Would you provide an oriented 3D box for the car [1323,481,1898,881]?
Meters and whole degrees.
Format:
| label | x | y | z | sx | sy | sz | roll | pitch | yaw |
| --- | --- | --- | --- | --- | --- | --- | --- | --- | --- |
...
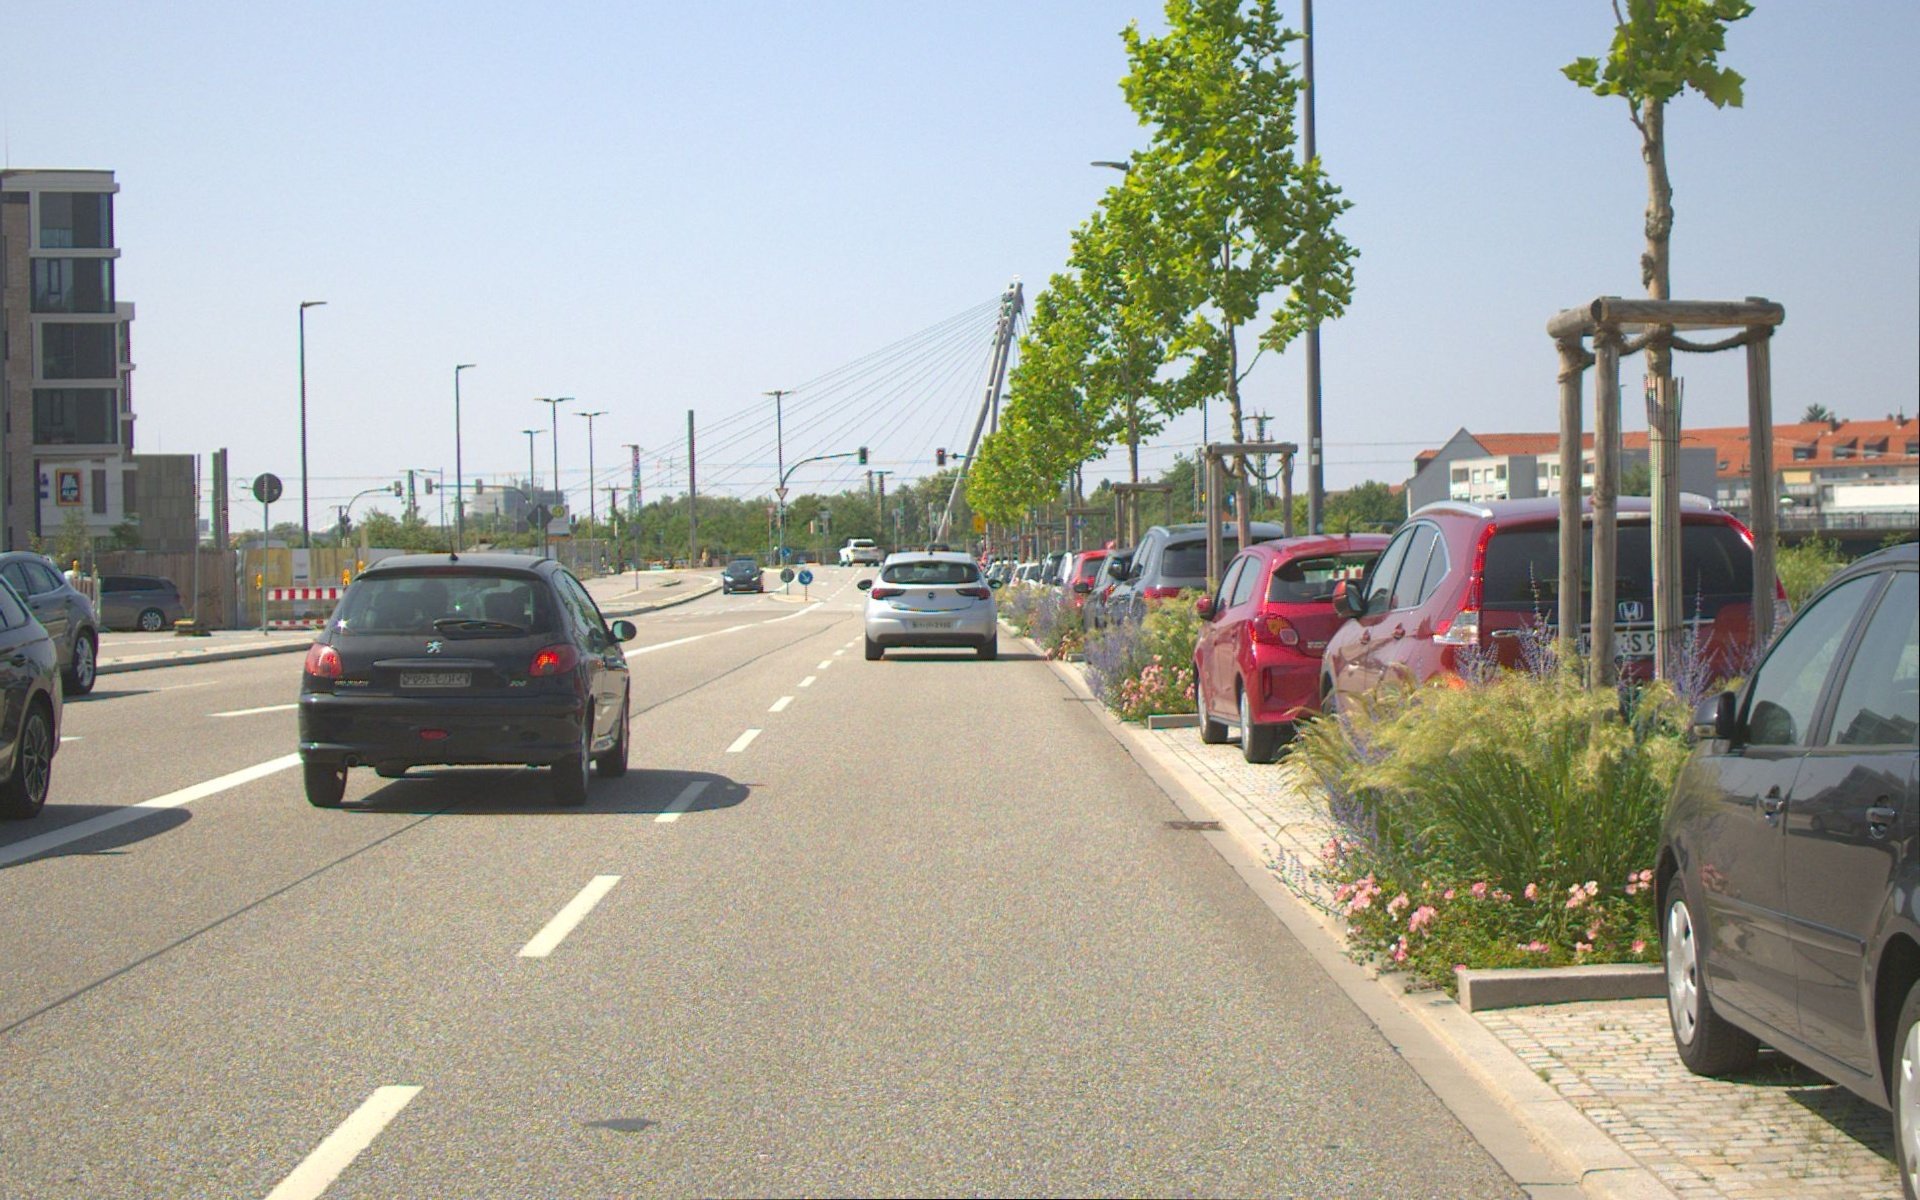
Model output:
| label | x | y | z | sx | sy | sz | roll | pitch | yaw |
| --- | --- | --- | --- | --- | --- | --- | --- | --- | --- |
| car | 2.910 | 0.278 | 16.386 | 1.908 | 1.611 | 4.548 | -1 | 1 | 1 |

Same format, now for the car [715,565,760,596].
| label | x | y | z | sx | sy | sz | roll | pitch | yaw |
| --- | --- | --- | --- | --- | --- | --- | --- | --- | --- |
| car | -9.945 | -0.880 | 154.012 | 1.704 | 1.347 | 4.456 | -1 | 0 | 0 |

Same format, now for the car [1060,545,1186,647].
| label | x | y | z | sx | sy | sz | roll | pitch | yaw |
| --- | --- | --- | --- | --- | --- | --- | --- | --- | --- |
| car | 2.484 | -0.086 | 53.170 | 1.717 | 1.446 | 4.000 | 1 | 2 | -1 |

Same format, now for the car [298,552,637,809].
| label | x | y | z | sx | sy | sz | roll | pitch | yaw |
| --- | --- | --- | --- | --- | --- | --- | --- | --- | --- |
| car | -2.896 | 0.421 | 20.875 | 1.619 | 1.411 | 3.727 | 0 | 1 | -2 |

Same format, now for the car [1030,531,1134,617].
| label | x | y | z | sx | sy | sz | roll | pitch | yaw |
| --- | --- | --- | --- | --- | --- | --- | --- | --- | --- |
| car | 2.360 | -0.498 | 66.039 | 1.908 | 1.572 | 4.157 | -1 | 1 | 3 |

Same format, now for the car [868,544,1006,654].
| label | x | y | z | sx | sy | sz | roll | pitch | yaw |
| --- | --- | --- | --- | --- | --- | --- | --- | --- | --- |
| car | -0.278 | -0.048 | 47.133 | 1.778 | 1.437 | 4.000 | 0 | 1 | 1 |

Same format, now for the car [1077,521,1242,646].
| label | x | y | z | sx | sy | sz | roll | pitch | yaw |
| --- | --- | --- | --- | --- | --- | --- | --- | --- | --- |
| car | 2.357 | -0.224 | 41.523 | 1.632 | 1.424 | 4.241 | 0 | 1 | -2 |

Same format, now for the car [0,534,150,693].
| label | x | y | z | sx | sy | sz | roll | pitch | yaw |
| --- | --- | --- | --- | --- | --- | --- | --- | --- | --- |
| car | -9.733 | 0.102 | 33.850 | 1.903 | 1.490 | 4.385 | 0 | 1 | 9 |

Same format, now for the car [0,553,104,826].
| label | x | y | z | sx | sy | sz | roll | pitch | yaw |
| --- | --- | --- | --- | --- | --- | --- | --- | --- | --- |
| car | -5.824 | 0.462 | 17.387 | 1.787 | 1.393 | 4.572 | 0 | 1 | 1 |

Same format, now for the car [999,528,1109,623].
| label | x | y | z | sx | sy | sz | roll | pitch | yaw |
| --- | --- | --- | --- | --- | --- | --- | --- | --- | --- |
| car | 1.562 | -0.430 | 58.447 | 1.717 | 1.519 | 3.642 | 1 | 1 | 0 |

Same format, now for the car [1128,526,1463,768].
| label | x | y | z | sx | sy | sz | roll | pitch | yaw |
| --- | --- | --- | --- | --- | --- | --- | --- | --- | --- |
| car | 2.253 | 0.279 | 24.013 | 1.603 | 1.486 | 3.819 | -2 | 1 | -5 |

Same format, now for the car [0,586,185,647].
| label | x | y | z | sx | sy | sz | roll | pitch | yaw |
| --- | --- | --- | --- | --- | --- | --- | --- | --- | --- |
| car | -20.905 | 0.376 | 82.051 | 4.234 | 1.313 | 2.000 | -2 | 1 | -35 |

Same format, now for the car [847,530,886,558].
| label | x | y | z | sx | sy | sz | roll | pitch | yaw |
| --- | --- | --- | --- | --- | --- | --- | --- | --- | --- |
| car | -5.705 | -3.395 | 209.276 | 1.854 | 1.644 | 4.001 | 1 | 1 | -8 |

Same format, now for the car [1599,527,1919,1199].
| label | x | y | z | sx | sy | sz | roll | pitch | yaw |
| --- | --- | --- | --- | --- | --- | --- | --- | --- | --- |
| car | 2.665 | 0.574 | 8.129 | 1.620 | 1.474 | 3.824 | -1 | 1 | 1 |

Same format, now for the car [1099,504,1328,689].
| label | x | y | z | sx | sy | sz | roll | pitch | yaw |
| --- | --- | --- | --- | --- | --- | --- | --- | --- | --- |
| car | 2.393 | -0.064 | 33.366 | 1.734 | 1.603 | 4.241 | -2 | 1 | -2 |
